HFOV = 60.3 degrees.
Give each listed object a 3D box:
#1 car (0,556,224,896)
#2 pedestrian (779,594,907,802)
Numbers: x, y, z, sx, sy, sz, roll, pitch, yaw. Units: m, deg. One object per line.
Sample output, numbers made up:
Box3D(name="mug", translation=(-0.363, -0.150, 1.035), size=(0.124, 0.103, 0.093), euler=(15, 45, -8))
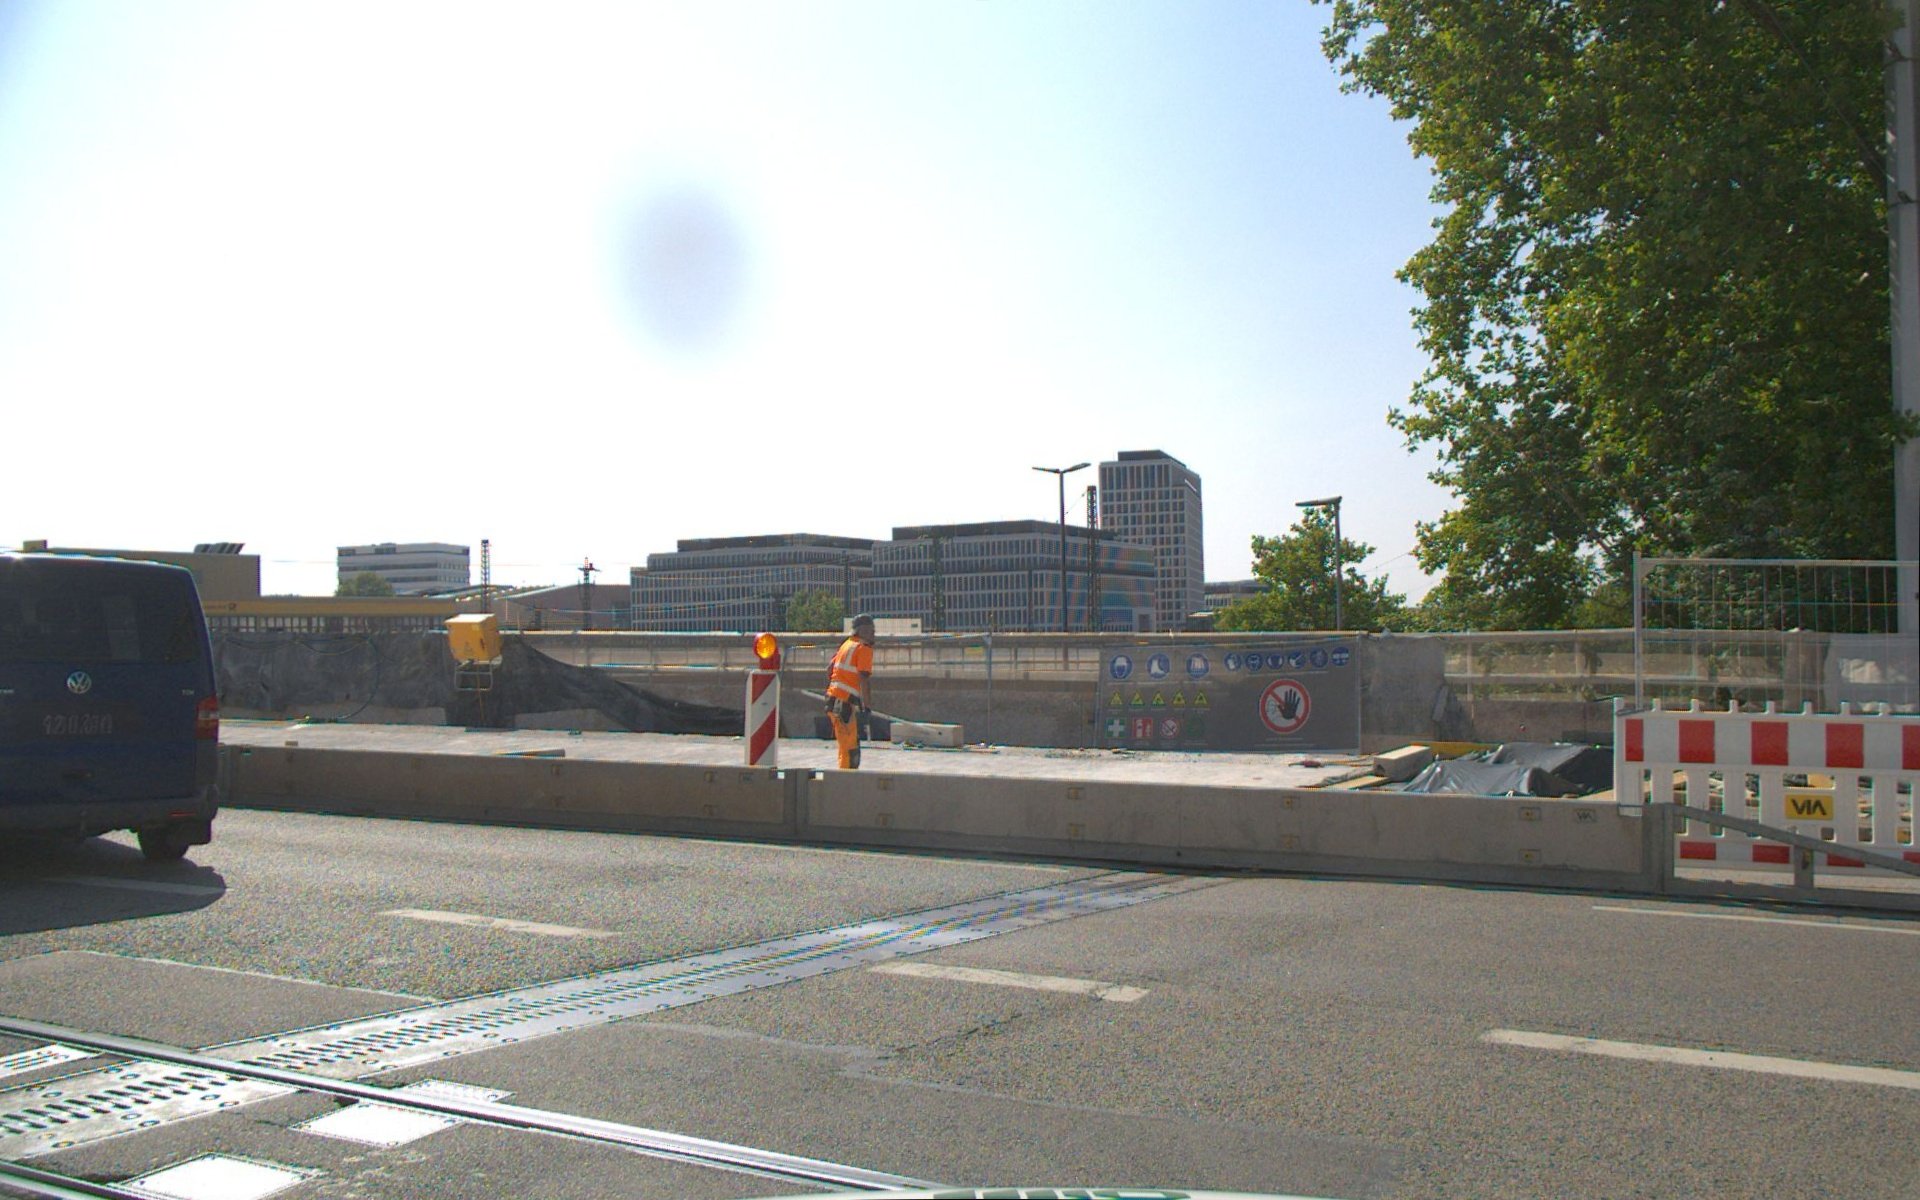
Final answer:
Box3D(name="car", translation=(-6.611, 0.736, 11.193), size=(1.807, 1.939, 3.991), euler=(-2, 0, -42))
Box3D(name="pedestrian", translation=(-1.072, 0.872, 15.224), size=(0.803, 1.826, 0.863), euler=(-1, 0, 27))
